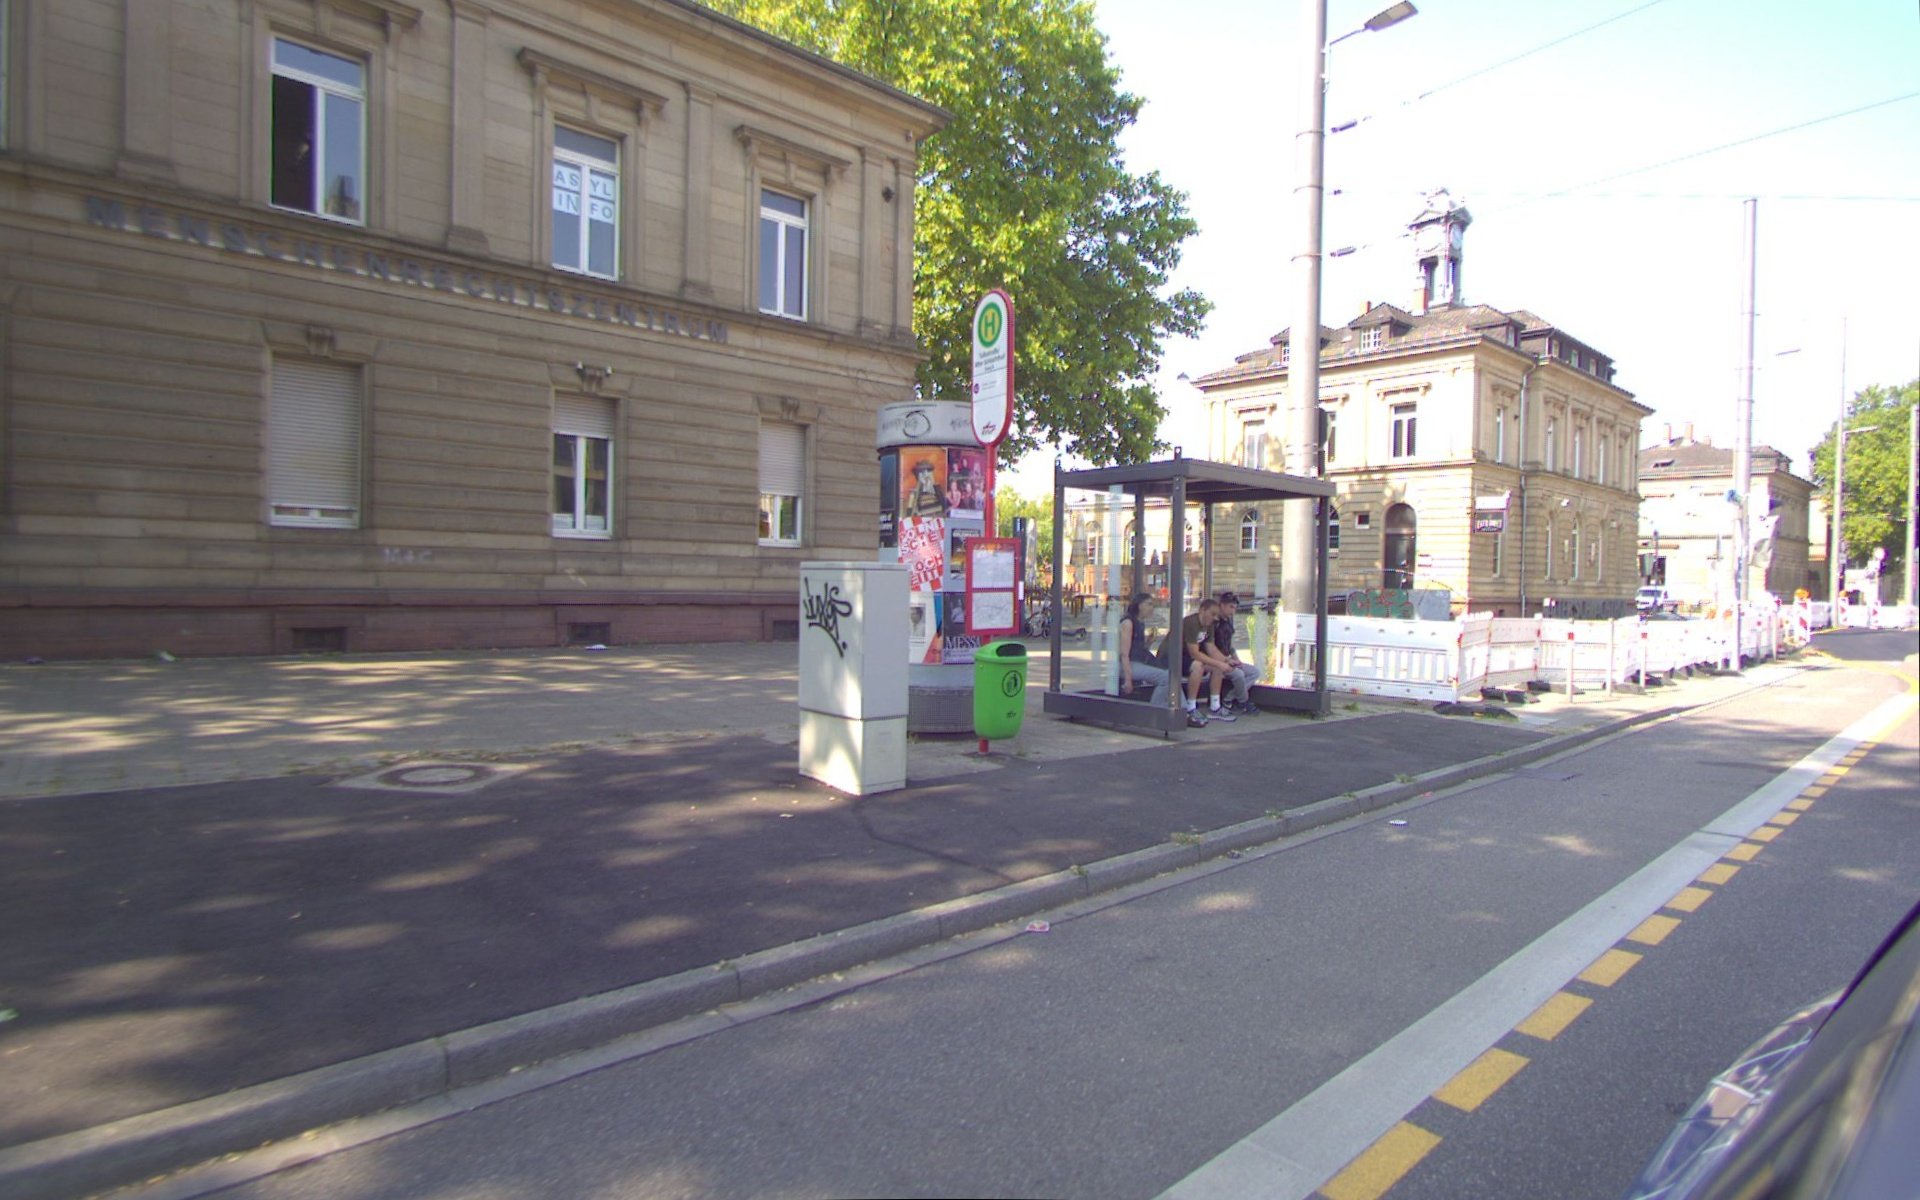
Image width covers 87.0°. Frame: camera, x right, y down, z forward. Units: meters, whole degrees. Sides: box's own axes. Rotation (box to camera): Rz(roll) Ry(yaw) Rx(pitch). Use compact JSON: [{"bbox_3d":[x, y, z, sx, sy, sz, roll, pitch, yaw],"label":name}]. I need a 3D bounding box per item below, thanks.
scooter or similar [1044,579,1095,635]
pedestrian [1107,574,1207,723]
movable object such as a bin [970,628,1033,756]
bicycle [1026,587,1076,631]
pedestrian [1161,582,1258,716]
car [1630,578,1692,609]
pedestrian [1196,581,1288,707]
[{"bbox_3d":[2.511,0.162,23.175,1.150,1.243,0.427,1,1,-34],"label":"scooter or similar"},{"bbox_3d":[1.922,0.437,9.885,0.601,1.383,0.751,-1,1,-41],"label":"pedestrian"},{"bbox_3d":[0.318,0.683,7.690,0.379,0.927,0.271,0,1,-43],"label":"movable object such as a bin"},{"bbox_3d":[2.250,0.238,24.759,0.488,1.012,1.798,2,-1,29],"label":"bicycle"},{"bbox_3d":[2.516,0.462,10.203,0.601,1.277,0.742,-1,1,-41],"label":"pedestrian"},{"bbox_3d":[45.169,-0.419,65.181,4.144,1.805,1.911,1,2,-35],"label":"car"},{"bbox_3d":[3.016,0.444,10.818,0.601,1.277,0.742,-1,1,-41],"label":"pedestrian"}]
